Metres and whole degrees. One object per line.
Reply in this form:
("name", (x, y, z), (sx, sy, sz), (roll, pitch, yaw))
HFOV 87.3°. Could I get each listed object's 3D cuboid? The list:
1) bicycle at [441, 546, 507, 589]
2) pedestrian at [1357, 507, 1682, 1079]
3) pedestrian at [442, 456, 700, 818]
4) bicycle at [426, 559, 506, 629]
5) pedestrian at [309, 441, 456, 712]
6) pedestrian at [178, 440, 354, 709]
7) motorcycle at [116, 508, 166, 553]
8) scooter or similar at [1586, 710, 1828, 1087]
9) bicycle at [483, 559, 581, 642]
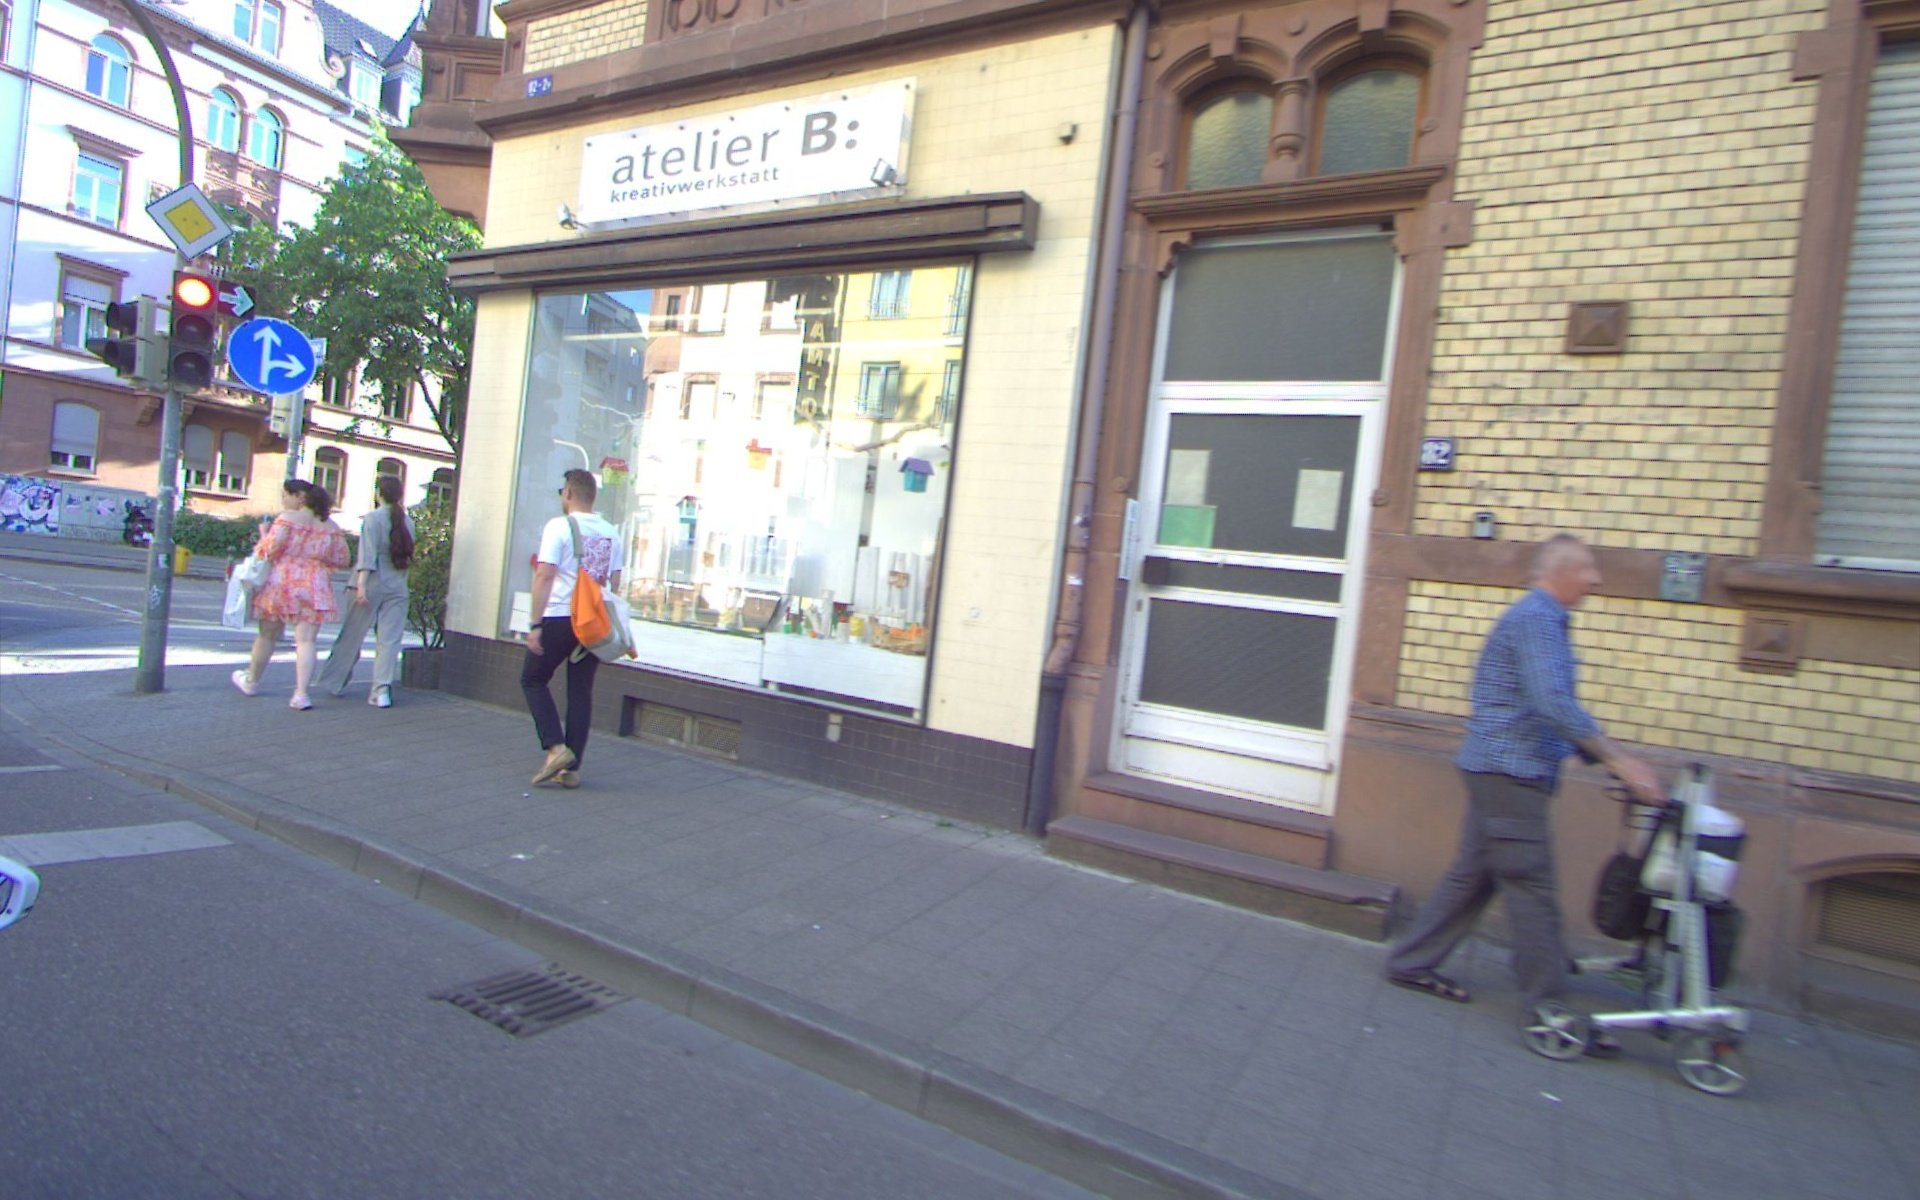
("bicycle", (-15.936, -1.078, 33.038), (1.839, 1.177, 0.556), (6, 3, -23))
("pedestrian", (2.051, 0.618, 3.754), (0.748, 1.826, 0.805), (8, 6, 30))
("pedestrian", (-2.228, 0.159, 5.760), (1.073, 1.826, 0.805), (8, 6, 29))
("bicycle", (-8.272, -0.099, 16.856), (1.048, 1.058, 0.777), (5, 0, 40))
("pedestrian", (-4.412, -0.187, 7.692), (0.659, 1.936, 0.690), (8, 6, 28))
("pedestrian", (-5.127, -0.199, 7.442), (0.748, 1.826, 0.805), (8, 6, 28))
("motorcycle", (-23.688, -2.017, 29.085), (2.254, 1.033, 0.718), (10, 3, 42))
("scooter or similar", (2.719, 1.031, 3.749), (0.512, 1.086, 0.804), (7, 6, 30))
("bicycle", (-7.281, -0.004, 17.078), (1.890, 1.239, 0.504), (5, 0, 34))
